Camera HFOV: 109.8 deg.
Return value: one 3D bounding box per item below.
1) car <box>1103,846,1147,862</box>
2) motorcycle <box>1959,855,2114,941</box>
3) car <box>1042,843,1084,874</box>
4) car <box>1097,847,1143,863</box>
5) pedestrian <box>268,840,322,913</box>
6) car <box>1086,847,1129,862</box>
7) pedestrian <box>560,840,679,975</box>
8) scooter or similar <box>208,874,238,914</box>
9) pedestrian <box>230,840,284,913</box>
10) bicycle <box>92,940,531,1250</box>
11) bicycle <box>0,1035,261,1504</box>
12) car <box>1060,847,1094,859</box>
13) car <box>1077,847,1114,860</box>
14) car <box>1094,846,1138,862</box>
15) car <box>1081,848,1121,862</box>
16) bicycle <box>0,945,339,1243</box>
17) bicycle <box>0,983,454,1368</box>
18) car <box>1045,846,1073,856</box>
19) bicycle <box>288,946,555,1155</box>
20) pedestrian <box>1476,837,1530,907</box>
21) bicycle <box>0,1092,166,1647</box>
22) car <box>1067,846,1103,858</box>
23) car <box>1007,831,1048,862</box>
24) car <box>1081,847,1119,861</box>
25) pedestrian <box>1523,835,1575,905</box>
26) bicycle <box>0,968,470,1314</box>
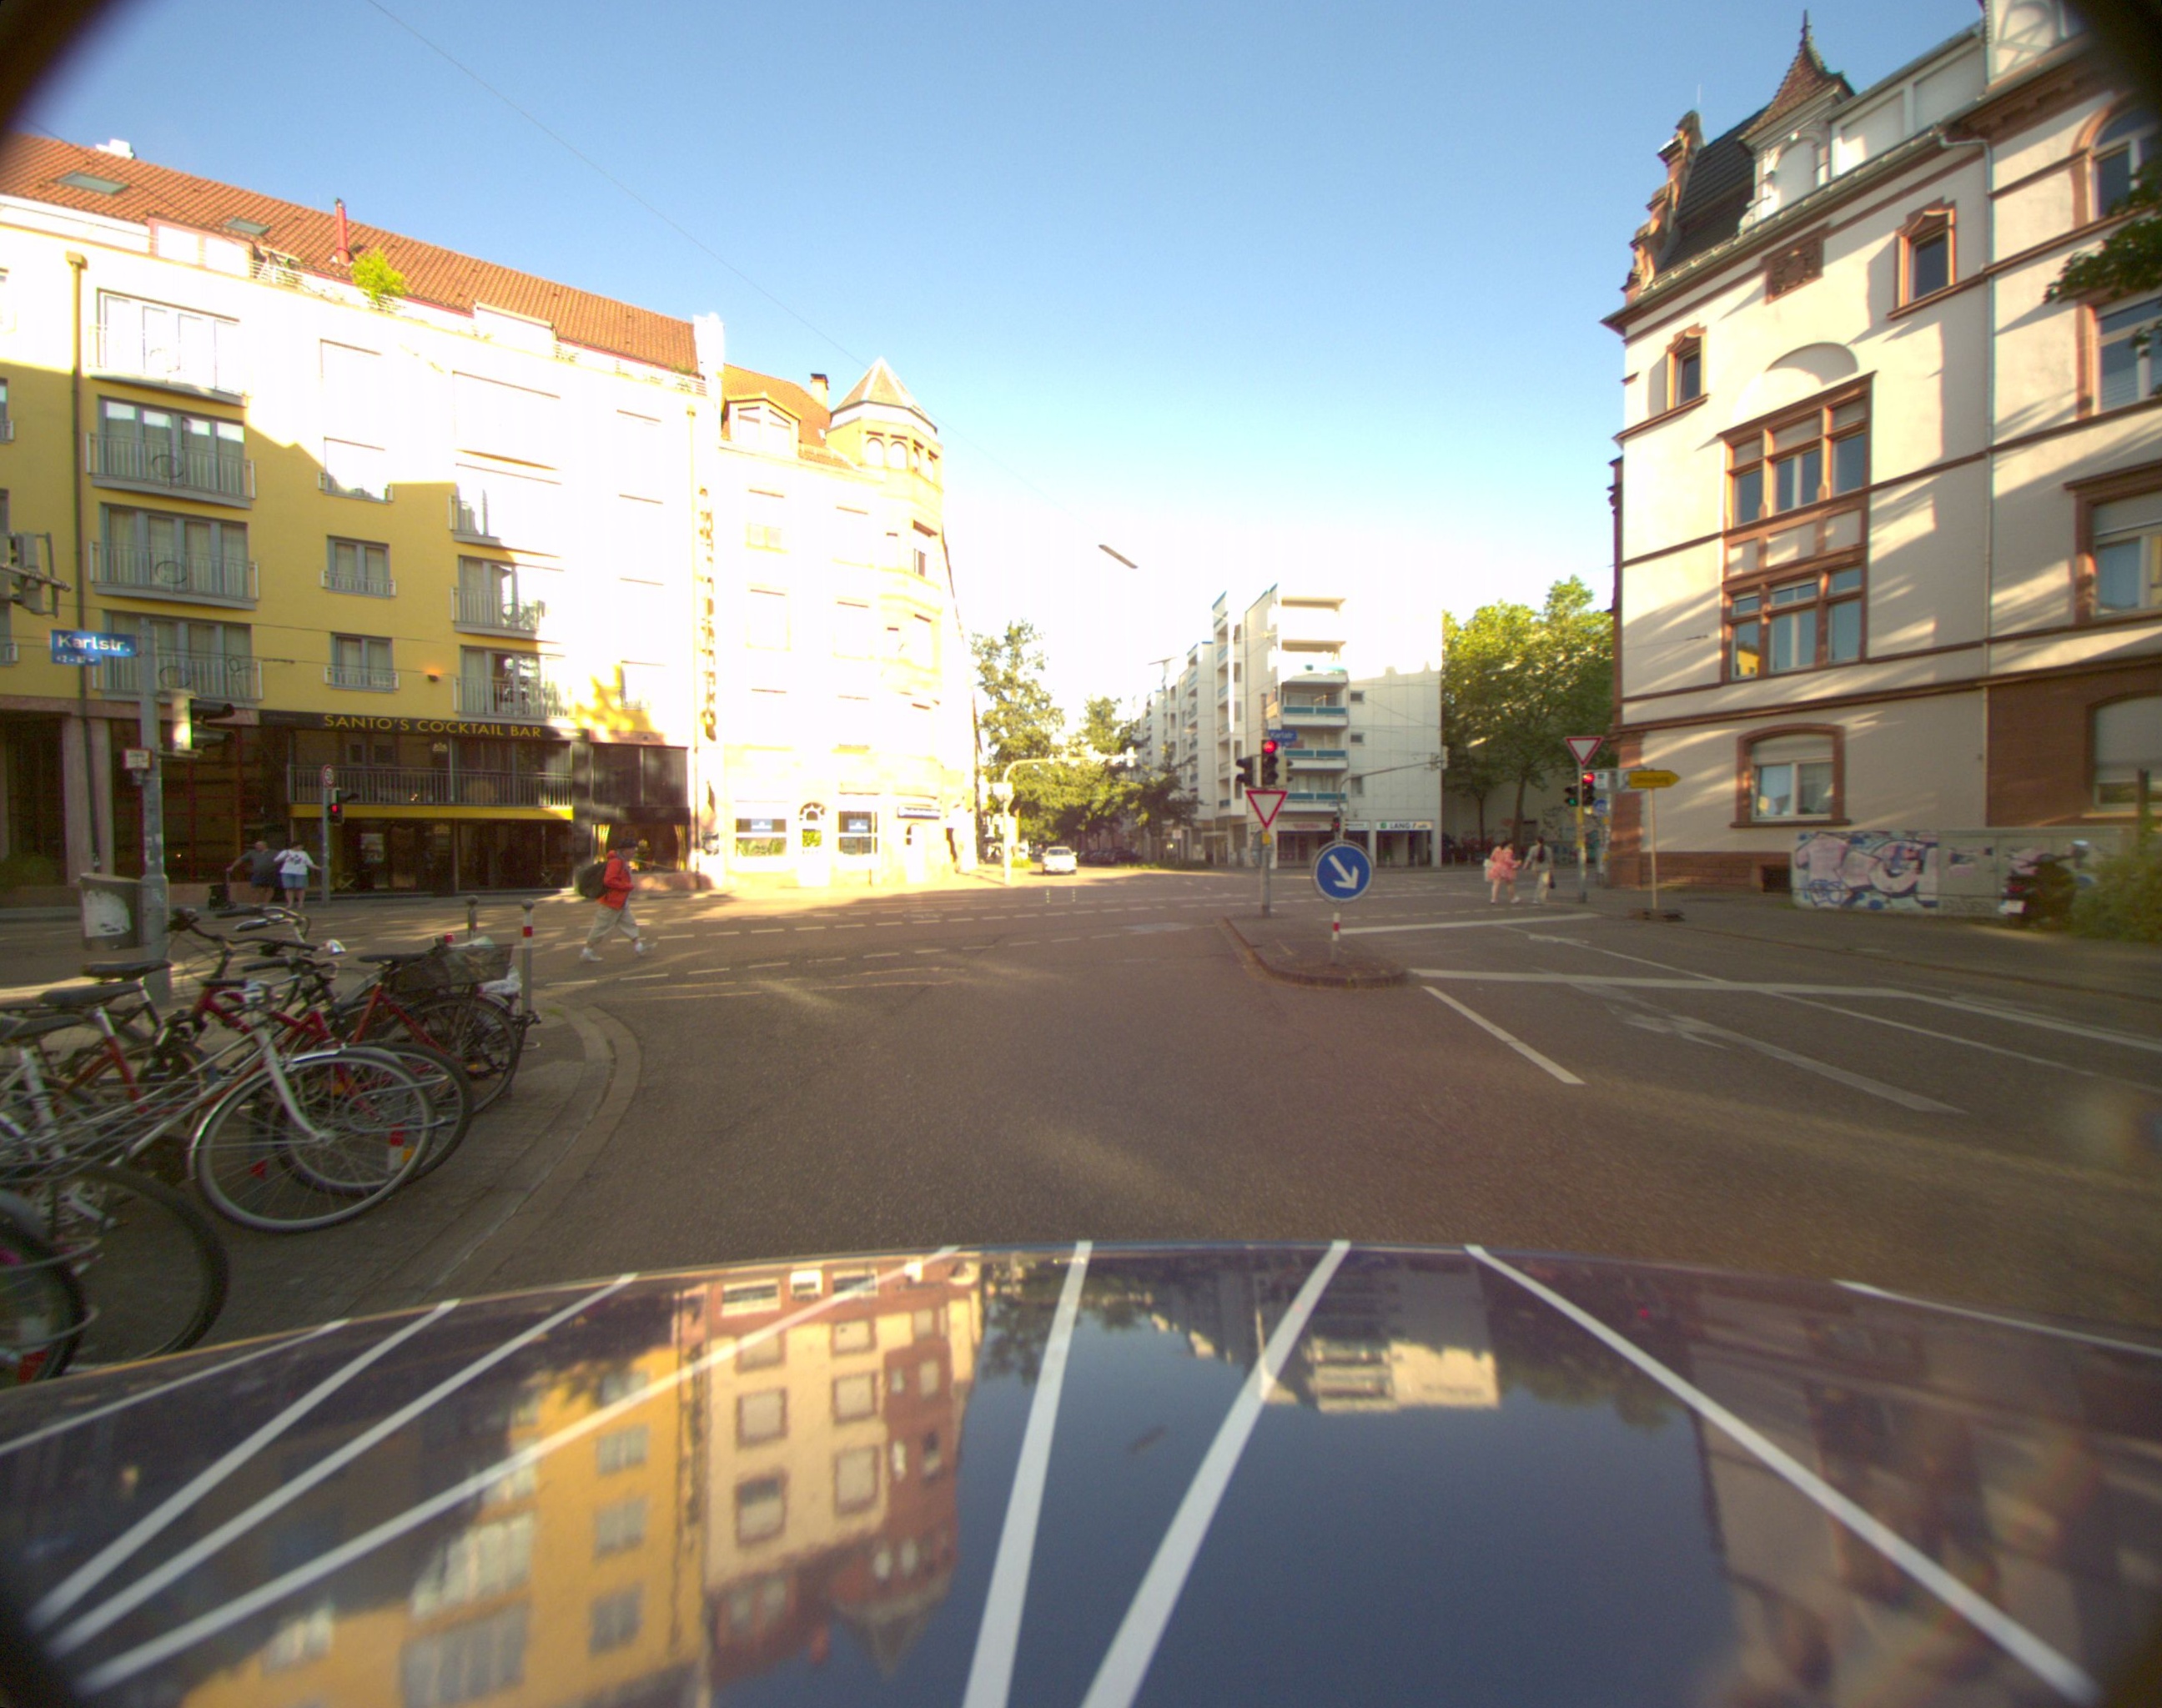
[{"bbox_3d":[4.323,-0.013,75.100,4.002,1.576,1.997,-1,1,-14],"label":"car"},{"bbox_3d":[15.112,0.651,12.025,2.112,1.258,0.841,-1,1,-19],"label":"motorcycle"},{"bbox_3d":[-1.126,0.246,45.094,2.000,1.740,3.996,0,1,-8],"label":"car"},{"bbox_3d":[3.934,0.057,77.516,4.306,1.576,1.997,-1,1,-14],"label":"car"},{"bbox_3d":[-20.603,0.565,19.934,0.736,1.831,0.725,-1,5,-29],"label":"pedestrian"},{"bbox_3d":[2.879,0.059,82.395,4.306,1.576,1.997,-1,1,-14],"label":"car"},{"bbox_3d":[-6.147,0.655,10.131,1.176,1.670,1.005,-1,1,-41],"label":"pedestrian"},{"bbox_3d":[-21.864,1.014,19.367,0.358,0.972,0.422,-1,5,-31],"label":"scooter or similar"},{"bbox_3d":[-21.524,0.567,19.865,0.680,1.831,0.725,-1,5,-29],"label":"pedestrian"},{"bbox_3d":[-3.694,1.054,3.779,0.423,1.087,1.480,4,2,36],"label":"bicycle"},{"bbox_3d":[-3.423,1.120,1.819,1.940,1.087,0.424,1,2,-31],"label":"bicycle"},{"bbox_3d":[-0.581,-0.170,102.740,4.306,1.576,1.997,0,1,-12],"label":"car"},{"bbox_3d":[1.797,-0.118,94.158,4.306,1.576,1.997,0,1,-12],"label":"car"},{"bbox_3d":[3.693,-0.008,80.094,4.306,1.576,1.997,-1,1,-14],"label":"car"},{"bbox_3d":[2.345,0.079,88.455,4.306,1.576,1.997,0,1,-12],"label":"car"},{"bbox_3d":[-4.531,1.065,3.533,0.572,1.087,1.481,4,2,38],"label":"bicycle"},{"bbox_3d":[-3.476,1.099,2.649,1.940,1.087,0.424,1,2,-33],"label":"bicycle"},{"bbox_3d":[-3.506,-0.468,120.964,4.306,1.576,1.997,0,1,-12],"label":"car"},{"bbox_3d":[-3.966,1.141,4.671,1.000,1.021,0.737,-1,1,-15],"label":"bicycle"},{"bbox_3d":[10.534,0.434,18.964,0.986,1.688,0.867,-1,2,-39],"label":"pedestrian"},{"bbox_3d":[-3.219,1.158,1.375,1.940,1.046,0.501,1,2,-31],"label":"bicycle"},{"bbox_3d":[0.504,-0.280,98.781,4.306,1.576,1.997,0,1,-12],"label":"car"},{"bbox_3d":[-5.825,-0.811,81.191,3.327,3.160,8.074,0,1,-11],"label":"car"},{"bbox_3d":[2.280,-0.037,91.798,4.306,1.576,1.997,0,1,-12],"label":"car"},{"bbox_3d":[11.681,0.380,19.006,0.868,1.688,0.985,0,1,16],"label":"pedestrian"},{"bbox_3d":[-3.692,1.087,3.008,1.940,1.087,0.424,1,2,-33],"label":"bicycle"}]
